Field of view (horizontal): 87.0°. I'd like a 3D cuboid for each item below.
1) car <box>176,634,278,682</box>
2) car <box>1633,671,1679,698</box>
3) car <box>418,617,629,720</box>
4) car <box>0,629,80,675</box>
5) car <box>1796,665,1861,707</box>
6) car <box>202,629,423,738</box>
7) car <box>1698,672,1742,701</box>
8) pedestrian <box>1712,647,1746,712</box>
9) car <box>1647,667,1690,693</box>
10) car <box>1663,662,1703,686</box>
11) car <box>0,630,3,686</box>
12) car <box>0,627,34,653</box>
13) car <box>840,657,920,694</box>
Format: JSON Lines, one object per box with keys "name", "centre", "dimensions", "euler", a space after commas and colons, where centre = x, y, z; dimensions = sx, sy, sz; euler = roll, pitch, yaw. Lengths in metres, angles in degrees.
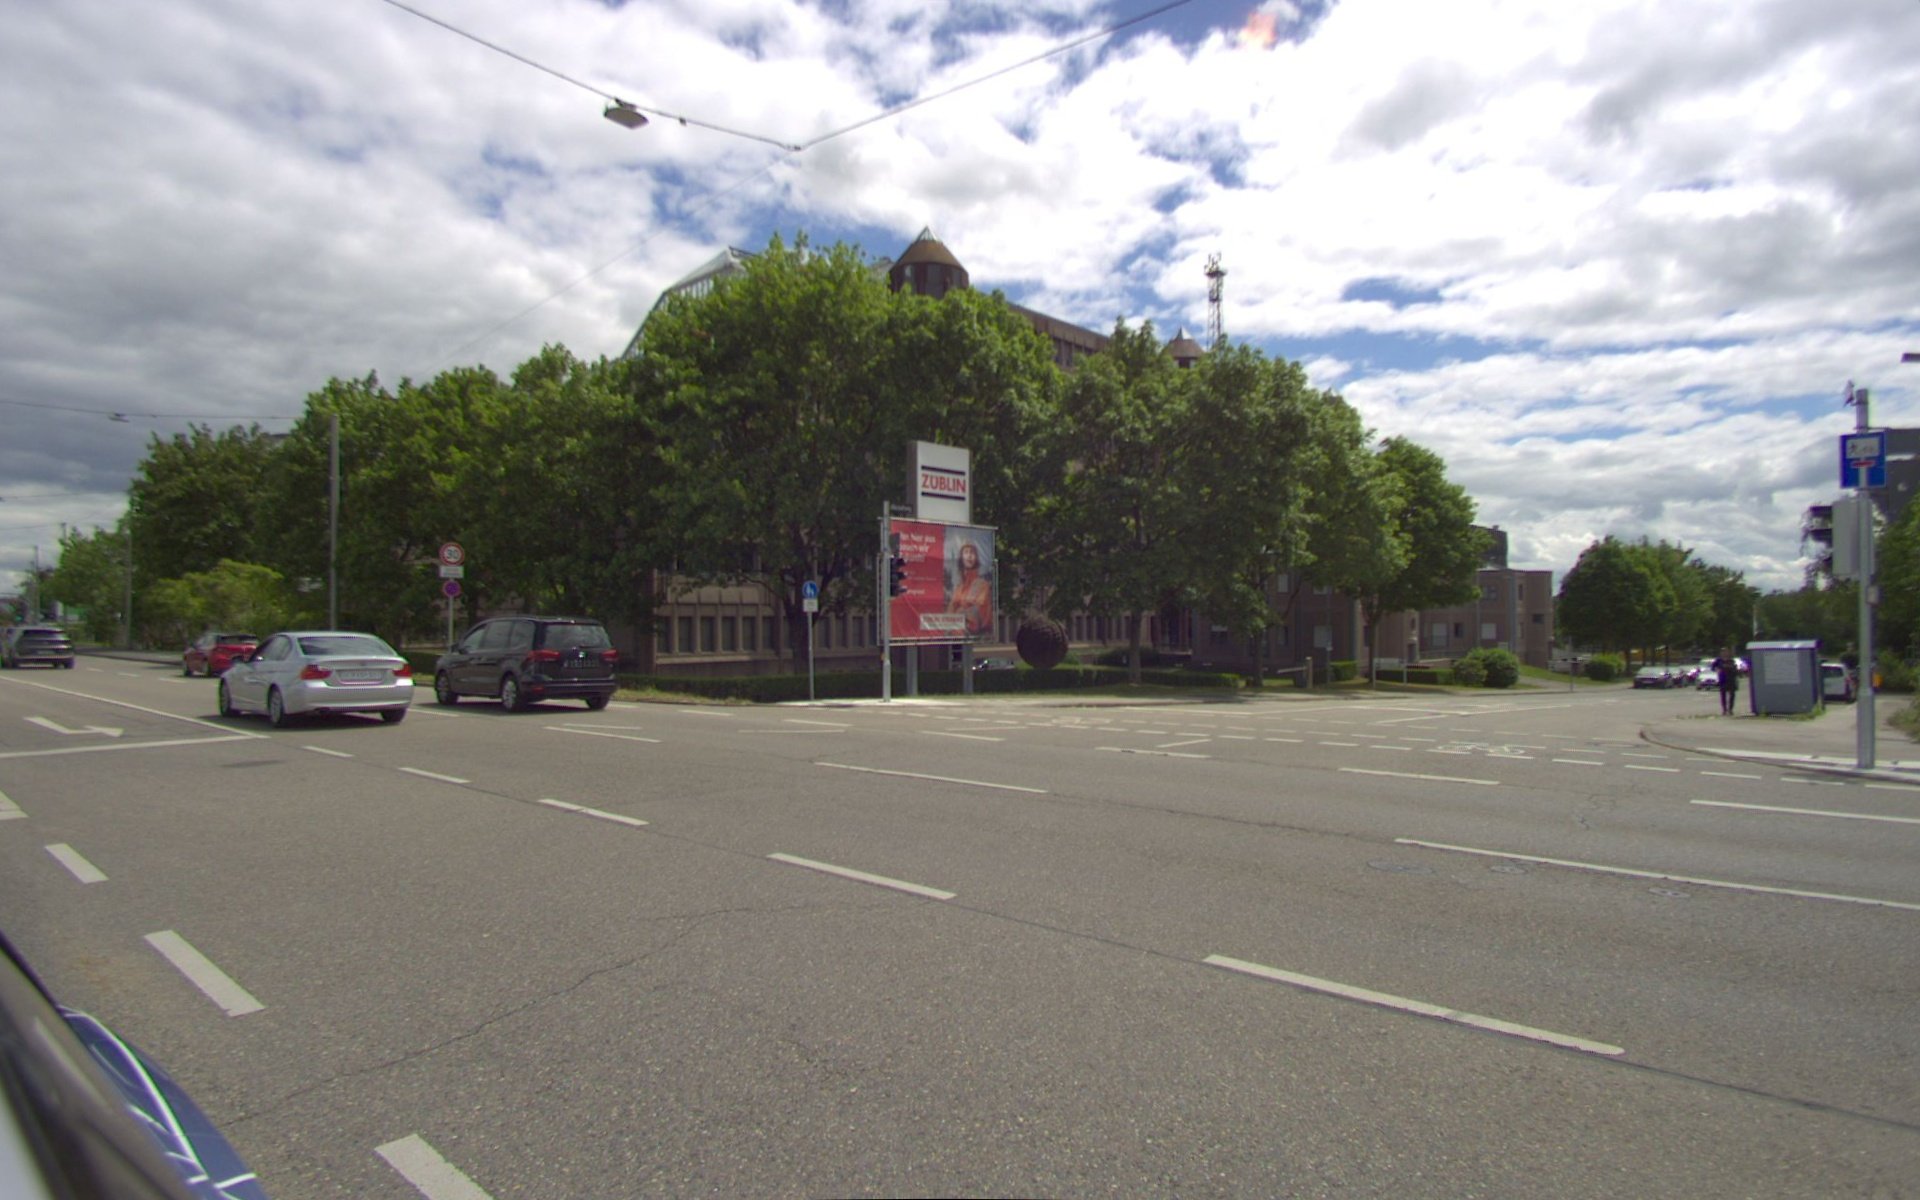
{"name": "car", "centre": [-23.785, 1.845, 32.787], "dimensions": [3.997, 1.426, 1.762], "euler": [-1, -3, 41]}
{"name": "car", "centre": [45.133, 5.450, 65.619], "dimensions": [1.999, 1.519, 3.945], "euler": [-2, -1, 42]}
{"name": "car", "centre": [-8.404, 1.203, 19.249], "dimensions": [4.761, 1.715, 1.972], "euler": [-2, -2, 43]}
{"name": "car", "centre": [-35.083, 1.923, 38.366], "dimensions": [4.303, 1.630, 1.973], "euler": [-2, -2, 41]}
{"name": "car", "centre": [38.804, 3.835, 45.177], "dimensions": [2.000, 1.706, 3.602], "euler": [-2, -5, 43]}
{"name": "car", "centre": [-10.268, 1.196, 15.926], "dimensions": [4.419, 1.458, 1.773], "euler": [-2, -1, 41]}
{"name": "car", "centre": [47.527, 5.364, 63.266], "dimensions": [1.998, 1.519, 3.947], "euler": [-2, -1, 39]}
{"name": "pedestrian", "centre": [20.317, 2.097, 26.738], "dimensions": [0.621, 1.657, 0.740], "euler": [-2, -6, 43]}
{"name": "car", "centre": [48.755, 5.460, 69.636], "dimensions": [1.999, 1.519, 3.945], "euler": [-2, -1, 42]}
{"name": "car", "centre": [53.762, 5.476, 75.261], "dimensions": [1.999, 1.519, 3.945], "euler": [-2, -1, 42]}
{"name": "car", "centre": [-27.033, 1.542, 26.951], "dimensions": [3.998, 1.453, 1.869], "euler": [-2, -2, 41]}
{"name": "car", "centre": [-60.996, 2.552, 64.920], "dimensions": [3.998, 1.609, 1.873], "euler": [-1, -2, 41]}
{"name": "car", "centre": [-3.113, 2.935, 39.648], "dimensions": [1.531, 1.214, 3.139], "euler": [-1, -1, 33]}
